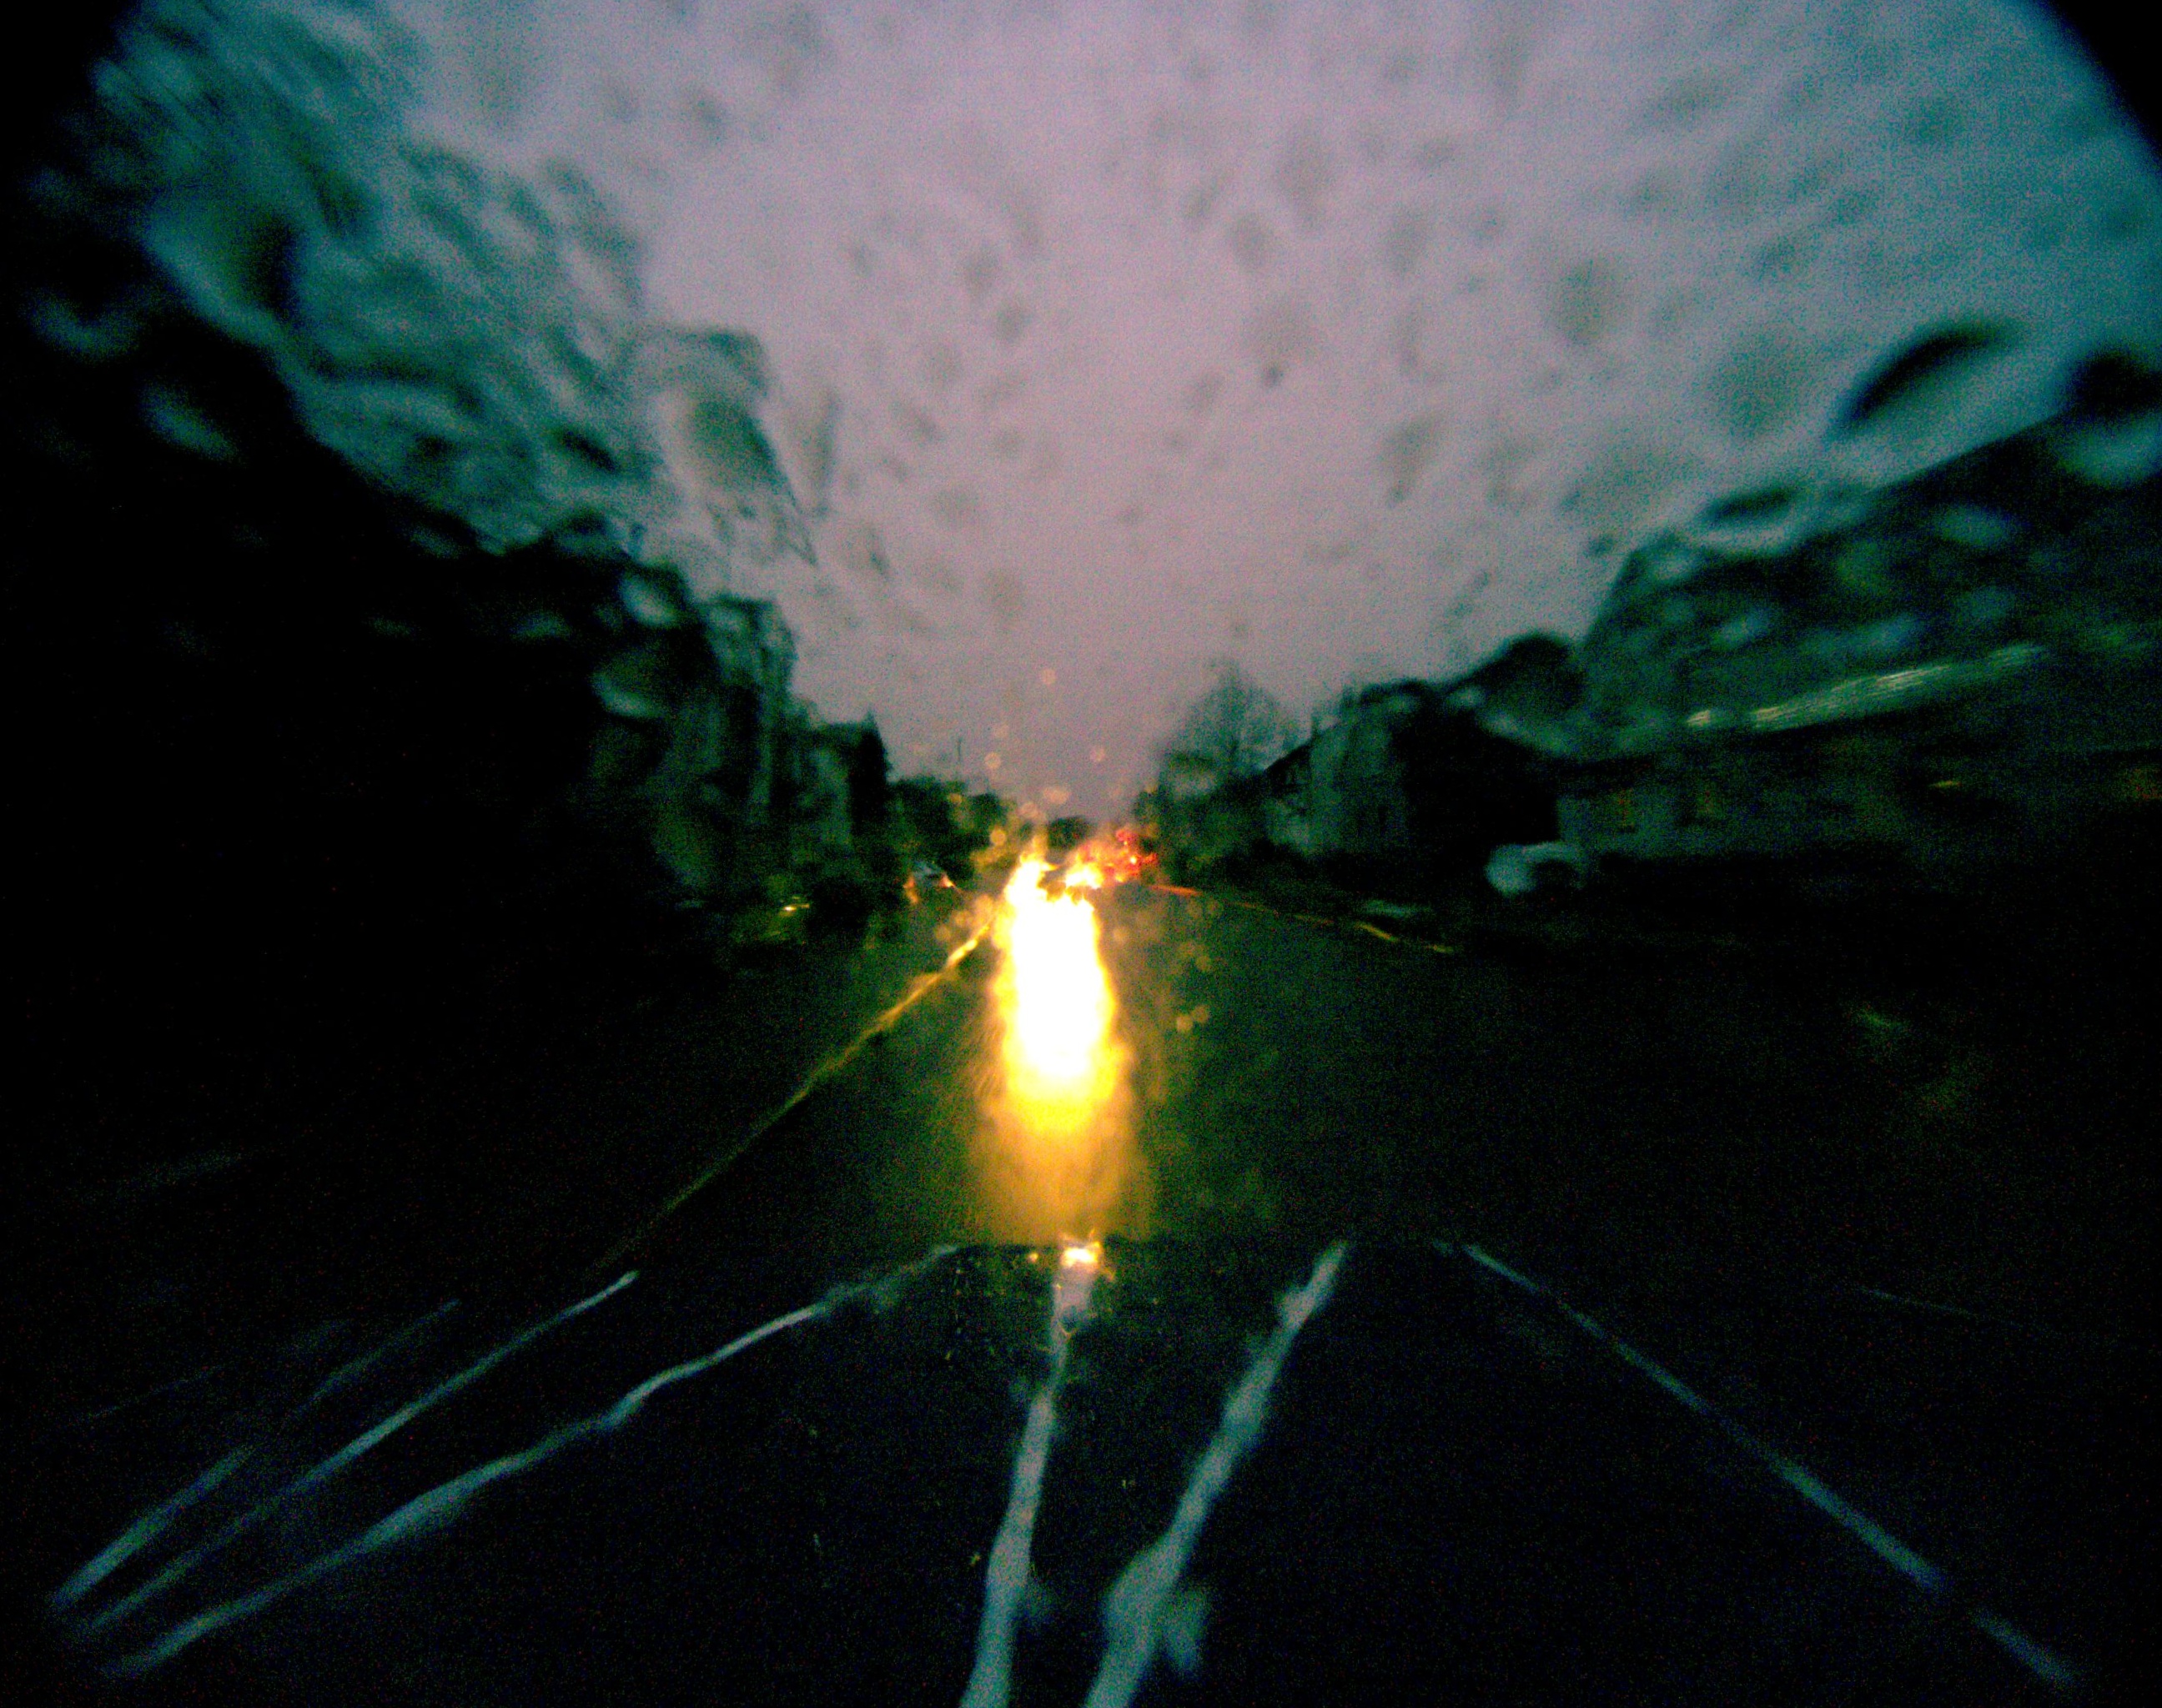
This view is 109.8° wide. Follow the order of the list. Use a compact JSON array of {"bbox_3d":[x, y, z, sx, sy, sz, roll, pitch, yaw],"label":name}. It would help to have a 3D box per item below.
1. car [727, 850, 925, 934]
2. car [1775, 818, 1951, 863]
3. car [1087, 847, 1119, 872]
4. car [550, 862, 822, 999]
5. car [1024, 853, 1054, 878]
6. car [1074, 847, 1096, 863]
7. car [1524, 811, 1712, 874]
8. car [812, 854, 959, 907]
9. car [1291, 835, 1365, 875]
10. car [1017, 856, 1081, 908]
[{"bbox_3d":[-6.074,0.868,18.549,4.113,1.696,1.999,-3,2,-3],"label":"car"},{"bbox_3d":[27.658,-0.475,26.999,3.996,1.387,2.149,-3,1,2],"label":"car"},{"bbox_3d":[1.464,0.365,52.474,1.819,1.623,4.223,-1,1,-3],"label":"car"},{"bbox_3d":[-5.762,0.980,11.917,1.898,1.545,4.753,-3,1,-3],"label":"car"},{"bbox_3d":[-3.015,0.832,55.610,1.999,1.660,3.999,-3,1,-1],"label":"car"},{"bbox_3d":[0.402,0.068,74.805,1.709,1.433,4.422,-1,1,-5],"label":"car"},{"bbox_3d":[17.094,-0.361,24.384,4.562,1.790,1.912,-2,1,5],"label":"car"},{"bbox_3d":[-6.956,0.913,27.411,4.746,1.620,1.906,-2,1,0],"label":"car"},{"bbox_3d":[11.914,0.035,37.005,1.999,1.746,4.566,-2,1,-1],"label":"car"},{"bbox_3d":[-1.157,0.887,26.408,1.999,1.575,3.998,-2,0,-4],"label":"car"}]
